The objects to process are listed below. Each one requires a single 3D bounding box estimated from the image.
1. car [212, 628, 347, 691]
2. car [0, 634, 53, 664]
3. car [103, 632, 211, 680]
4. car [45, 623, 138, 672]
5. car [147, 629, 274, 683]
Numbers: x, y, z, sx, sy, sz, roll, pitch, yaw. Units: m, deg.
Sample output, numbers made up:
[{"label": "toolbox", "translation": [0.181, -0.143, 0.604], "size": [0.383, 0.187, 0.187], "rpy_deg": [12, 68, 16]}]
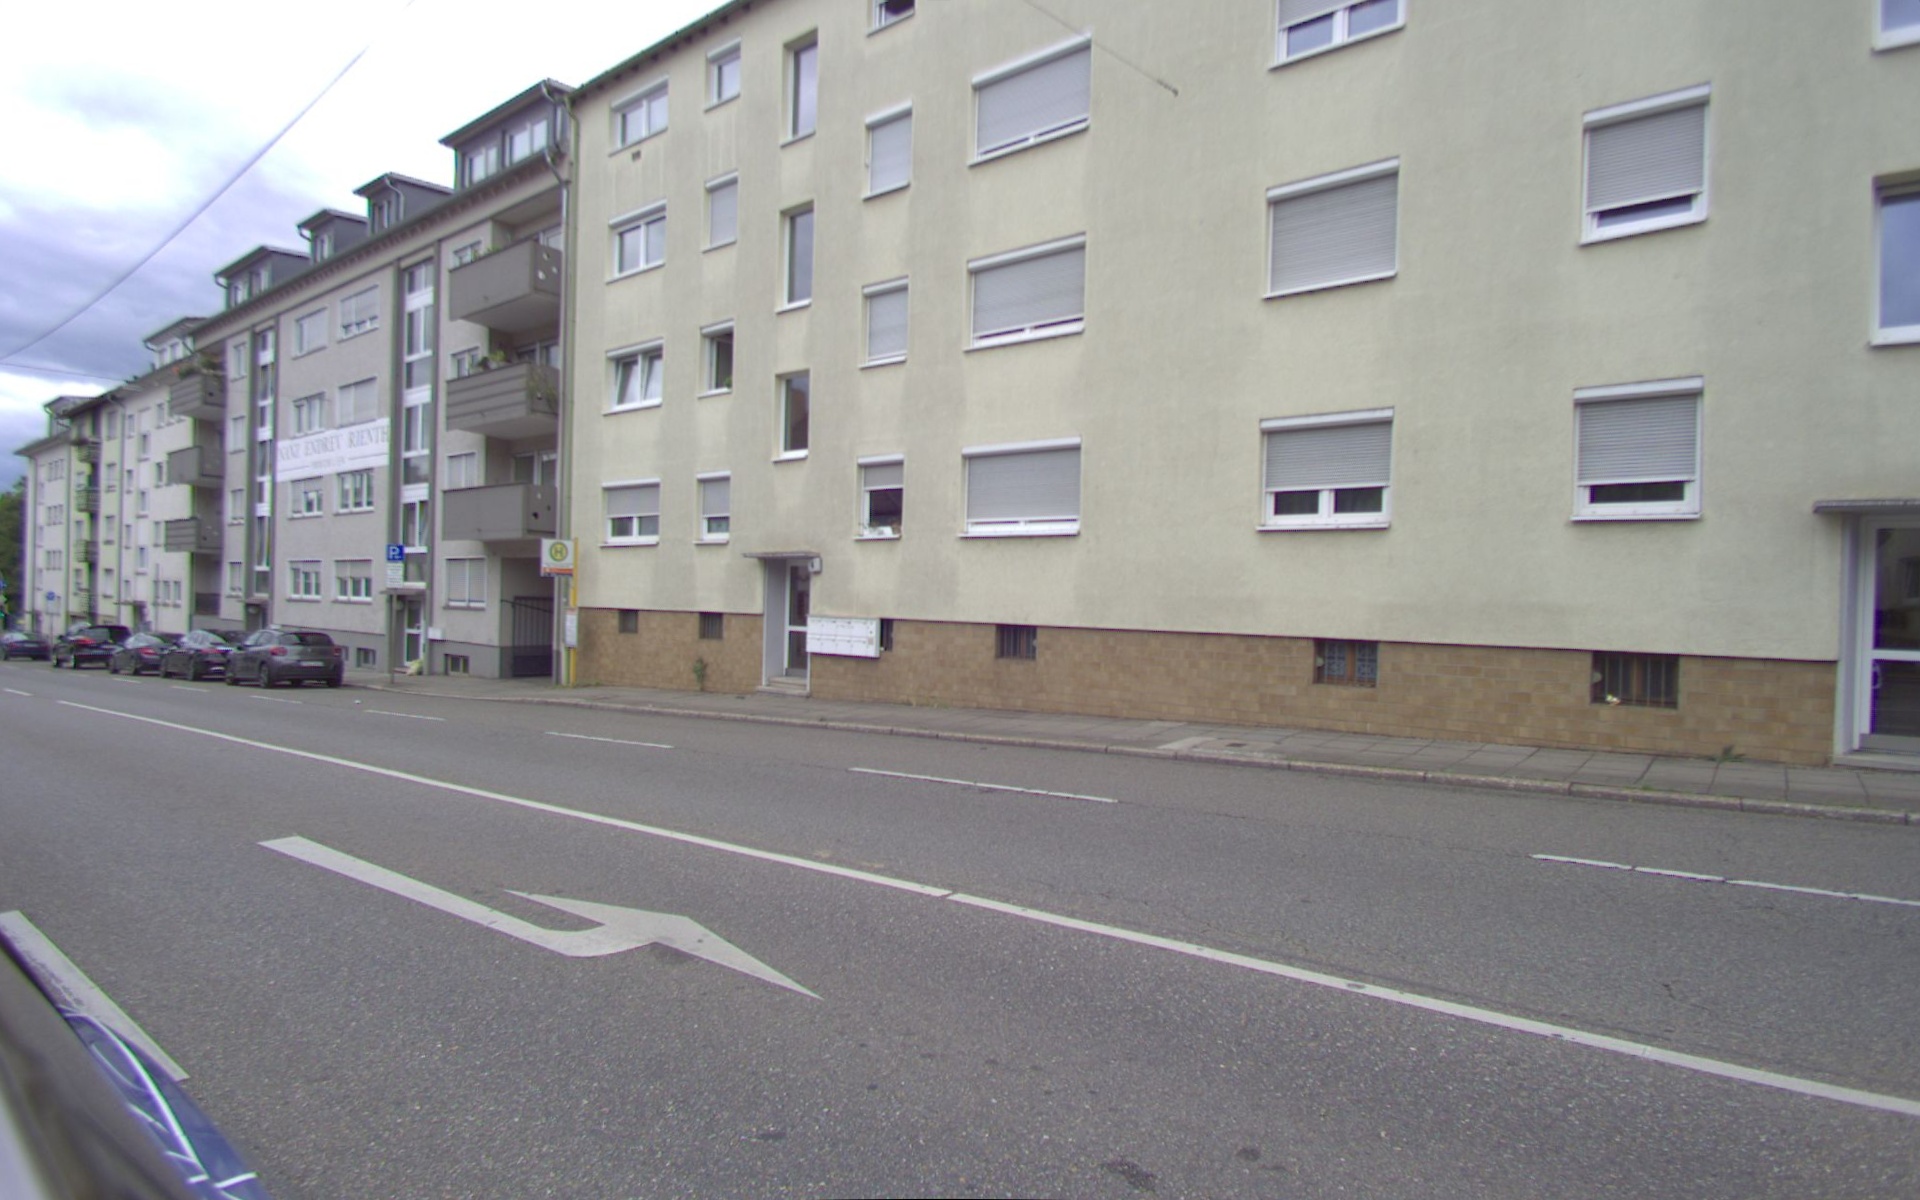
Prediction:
[{"label": "car", "translation": [-17.379, 1.492, 25.806], "size": [3.797, 1.447, 1.751], "rpy_deg": [-1, -4, 39]}, {"label": "car", "translation": [-45.950, 2.377, 49.459], "size": [4.305, 1.391, 1.851], "rpy_deg": [-1, -4, 41]}, {"label": "car", "translation": [-25.997, 1.790, 32.711], "size": [4.302, 1.416, 1.751], "rpy_deg": [-1, -4, 39]}, {"label": "car", "translation": [-33.185, 1.798, 38.656], "size": [4.302, 1.767, 1.852], "rpy_deg": [-1, -4, 39]}, {"label": "car", "translation": [-21.776, 1.587, 29.343], "size": [4.713, 1.416, 1.751], "rpy_deg": [-1, -4, 39]}]
